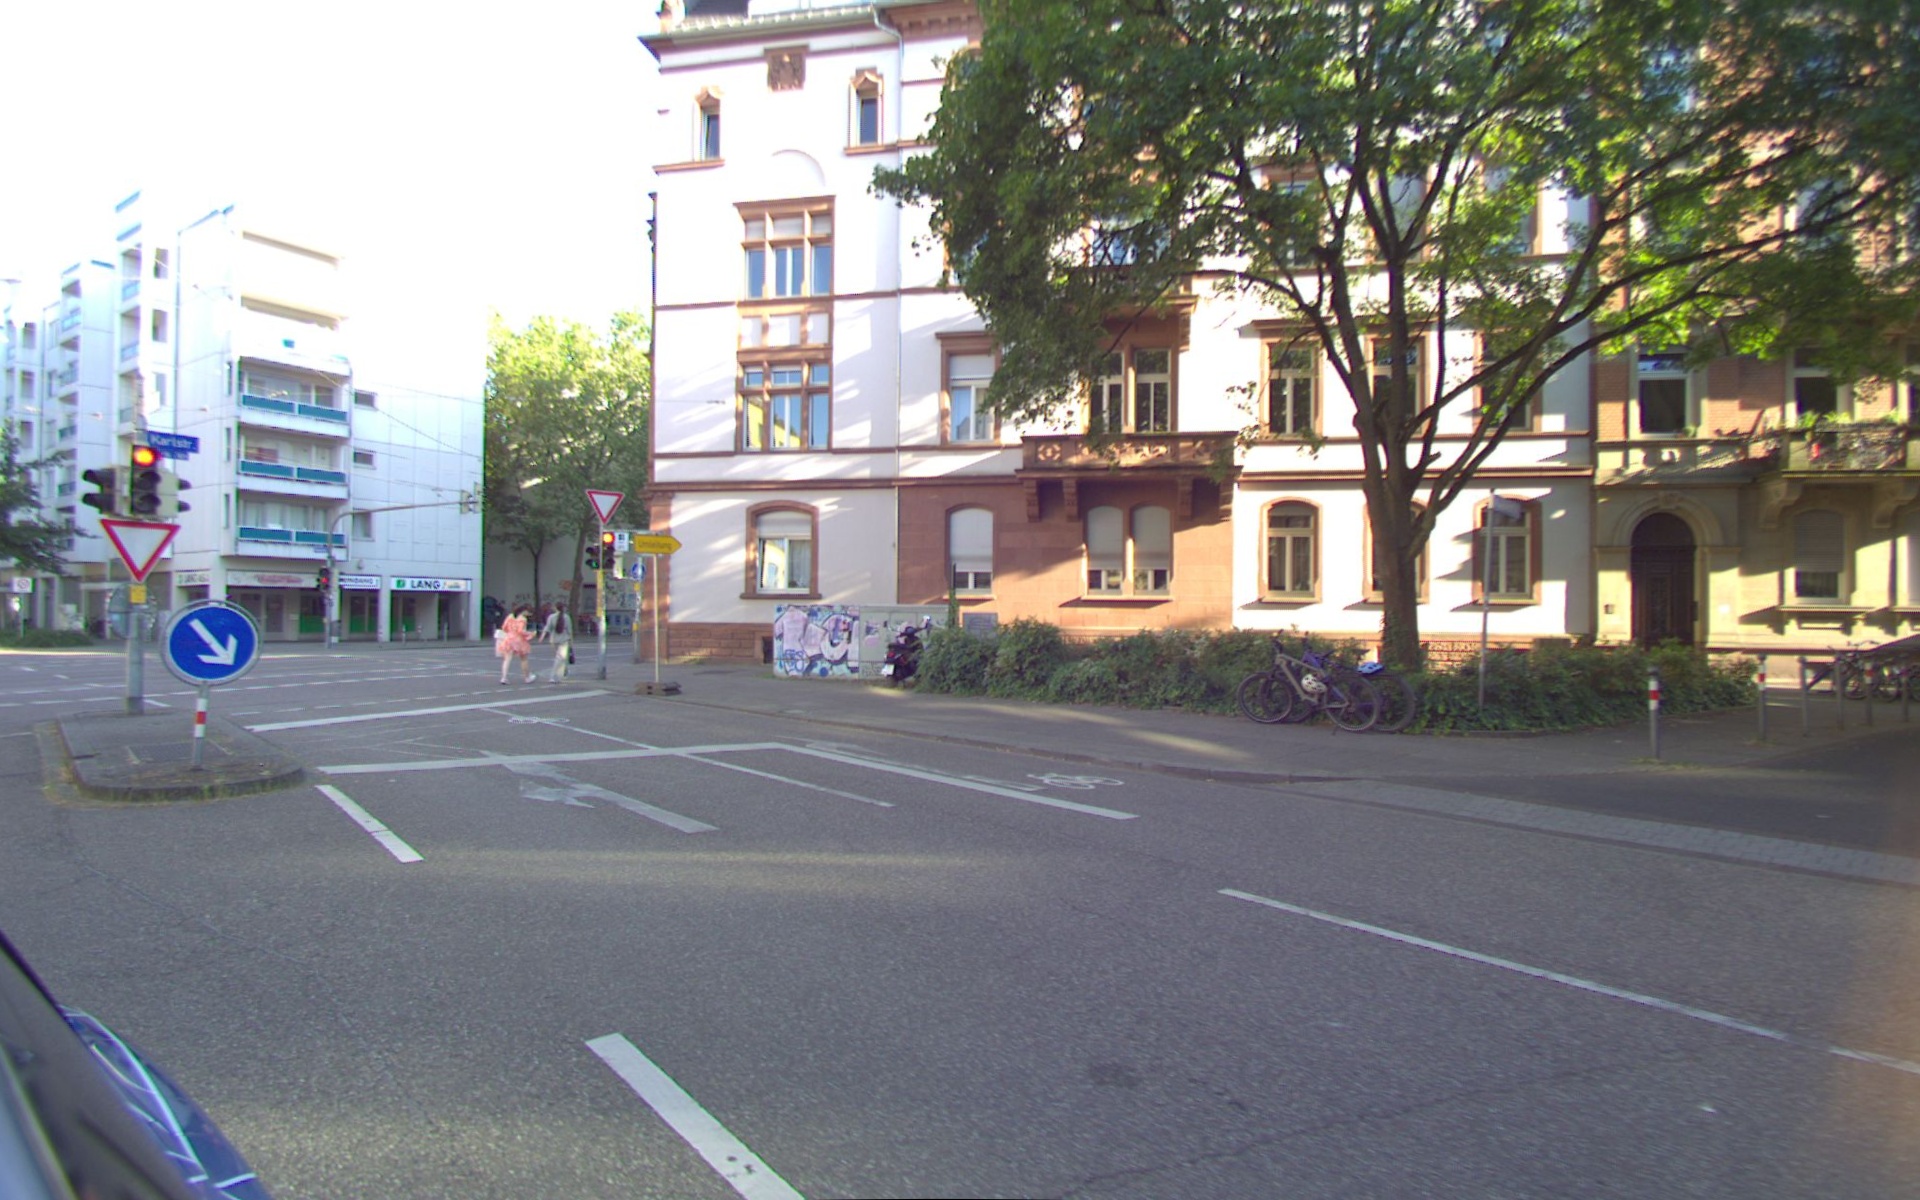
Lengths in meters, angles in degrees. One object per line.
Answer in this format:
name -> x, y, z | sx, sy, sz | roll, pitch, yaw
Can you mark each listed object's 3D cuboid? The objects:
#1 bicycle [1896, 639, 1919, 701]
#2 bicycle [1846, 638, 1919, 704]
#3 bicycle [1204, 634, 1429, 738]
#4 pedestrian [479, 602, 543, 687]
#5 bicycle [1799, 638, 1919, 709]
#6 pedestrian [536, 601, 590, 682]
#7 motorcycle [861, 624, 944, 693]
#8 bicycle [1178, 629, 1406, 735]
bicycle -> 18.891, 1.344, 18.743 | 0.744, 1.189, 3.125 | 0, -2, 11
bicycle -> 18.074, 1.328, 18.947 | 0.744, 1.189, 3.125 | 0, -2, 11
bicycle -> 4.608, 1.066, 13.387 | 0.539, 1.205, 2.964 | 2, -2, -39
pedestrian -> -9.268, 0.903, 20.931 | 0.858, 1.710, 0.984 | 0, -2, 1
bicycle -> 17.253, 1.339, 19.111 | 0.744, 1.189, 3.125 | 0, -2, 11
pedestrian -> -8.573, 0.884, 21.828 | 0.855, 1.710, 0.987 | 2, -2, -34
motorcycle -> -1.100, 1.115, 19.869 | 0.837, 1.275, 2.095 | 0, -2, 21
bicycle -> 4.160, 0.985, 13.013 | 0.539, 1.205, 2.964 | 2, -2, -39
